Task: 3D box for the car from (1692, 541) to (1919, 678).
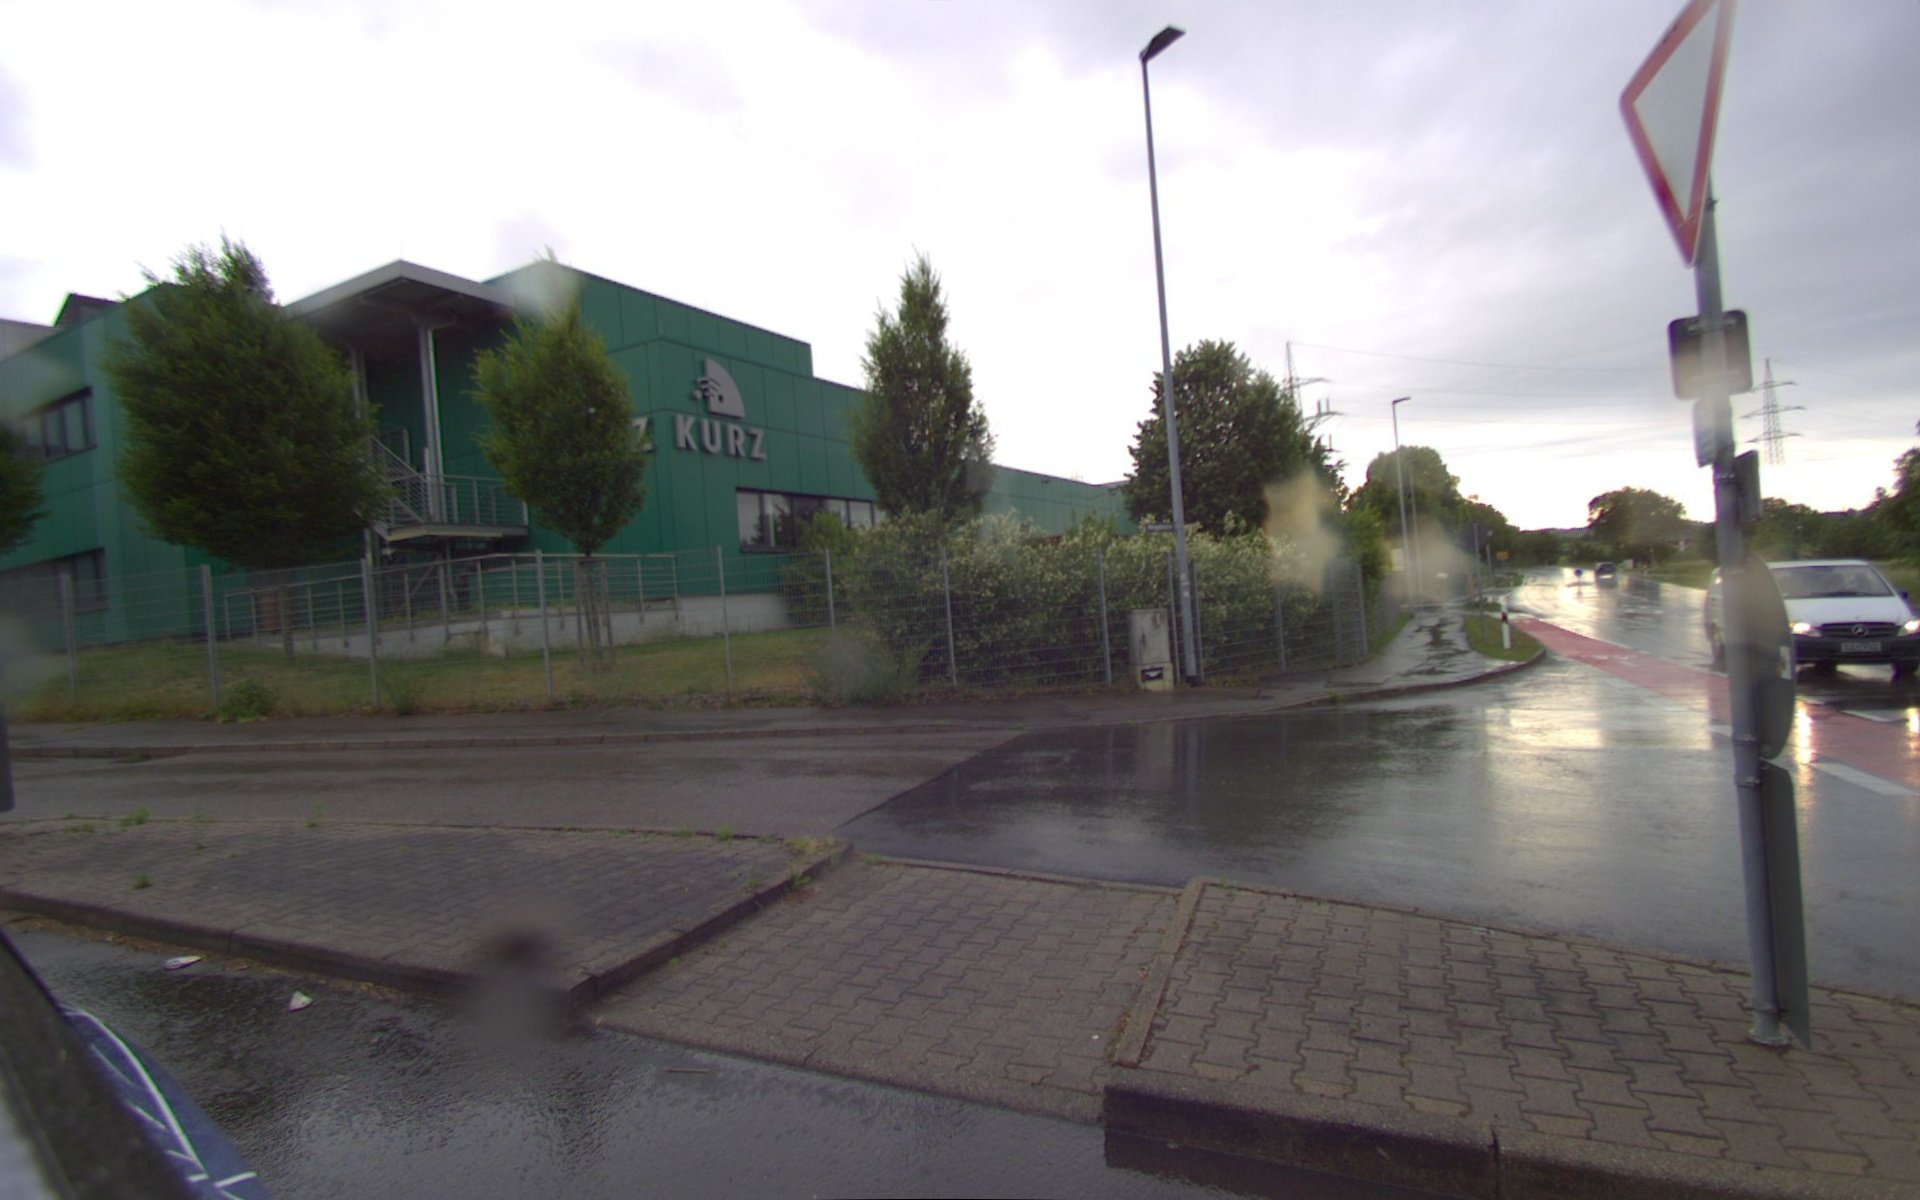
[{"bbox_3d":[14.929,0.156,17.918,1.892,2.033,5.332,-3,-1,23],"label":"car"}]
